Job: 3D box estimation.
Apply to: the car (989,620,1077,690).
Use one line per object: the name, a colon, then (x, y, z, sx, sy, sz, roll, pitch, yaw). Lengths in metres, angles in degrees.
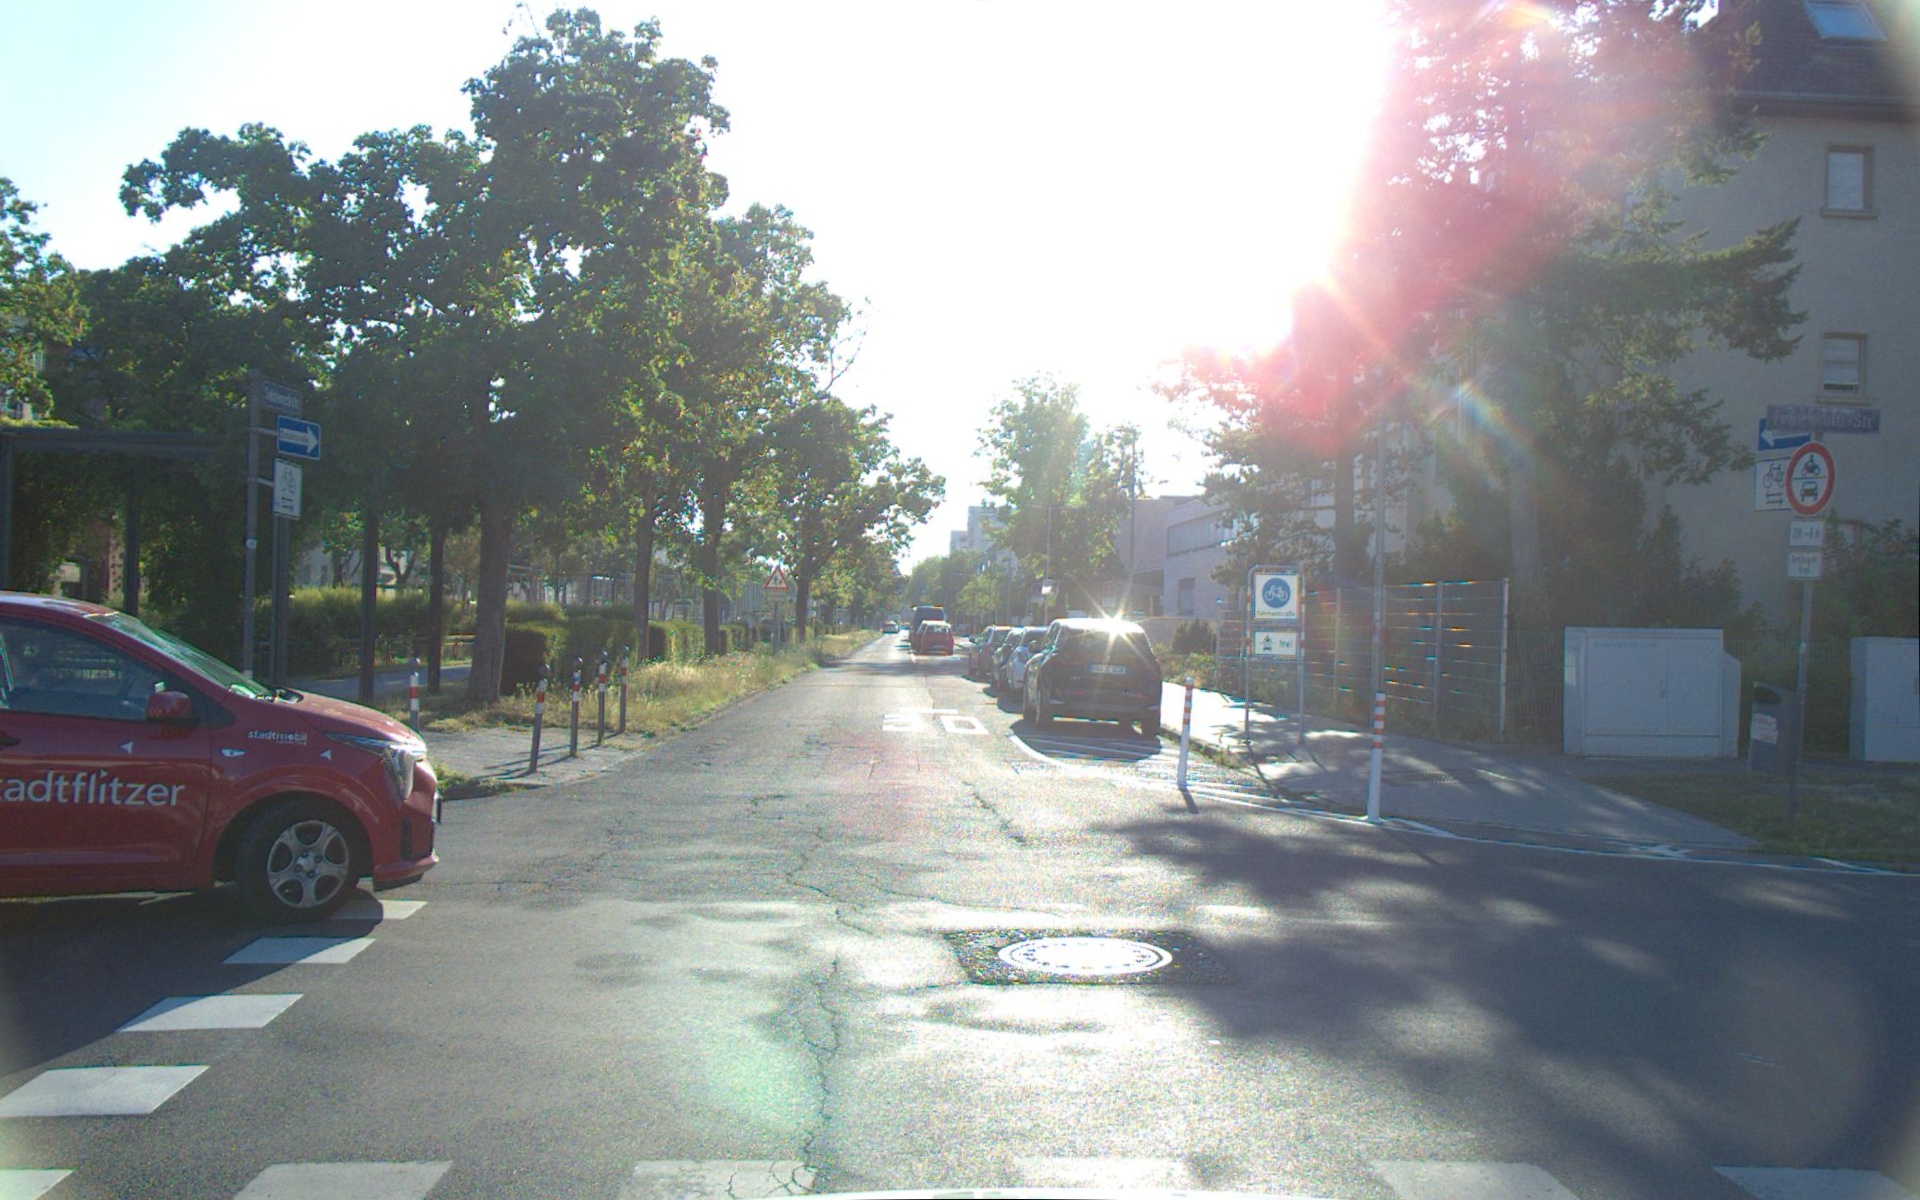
car: (1.675, 1.257, 38.979, 1.695, 1.545, 3.757, 1, -1, -3)

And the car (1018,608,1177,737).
car: (1.986, 1.046, 25.152, 1.781, 1.670, 4.213, 4, -1, -3)

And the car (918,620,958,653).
car: (-1.139, 1.806, 82.896, 1.722, 1.545, 3.756, 1, -1, -5)

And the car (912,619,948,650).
car: (-1.606, 1.807, 87.416, 1.696, 1.545, 3.756, 1, -1, -5)

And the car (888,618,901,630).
car: (-9.122, 3.357, 230.172, 1.828, 1.646, 3.997, 1, -1, -3)

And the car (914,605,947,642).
car: (-1.811, 1.421, 100.563, 1.953, 2.161, 3.998, 1, -1, -2)

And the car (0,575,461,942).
car: (-4.364, 0.682, 7.852, 3.707, 1.553, 1.759, 1, -1, -21)

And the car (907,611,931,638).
car: (-3.449, 2.076, 139.750, 1.953, 2.161, 3.998, 1, -1, -2)

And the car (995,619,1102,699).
car: (1.758, 1.173, 33.984, 1.730, 1.553, 3.769, 0, -1, -4)

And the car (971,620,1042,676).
car: (1.325, 1.371, 48.172, 1.730, 1.553, 3.770, 0, -1, -4)
